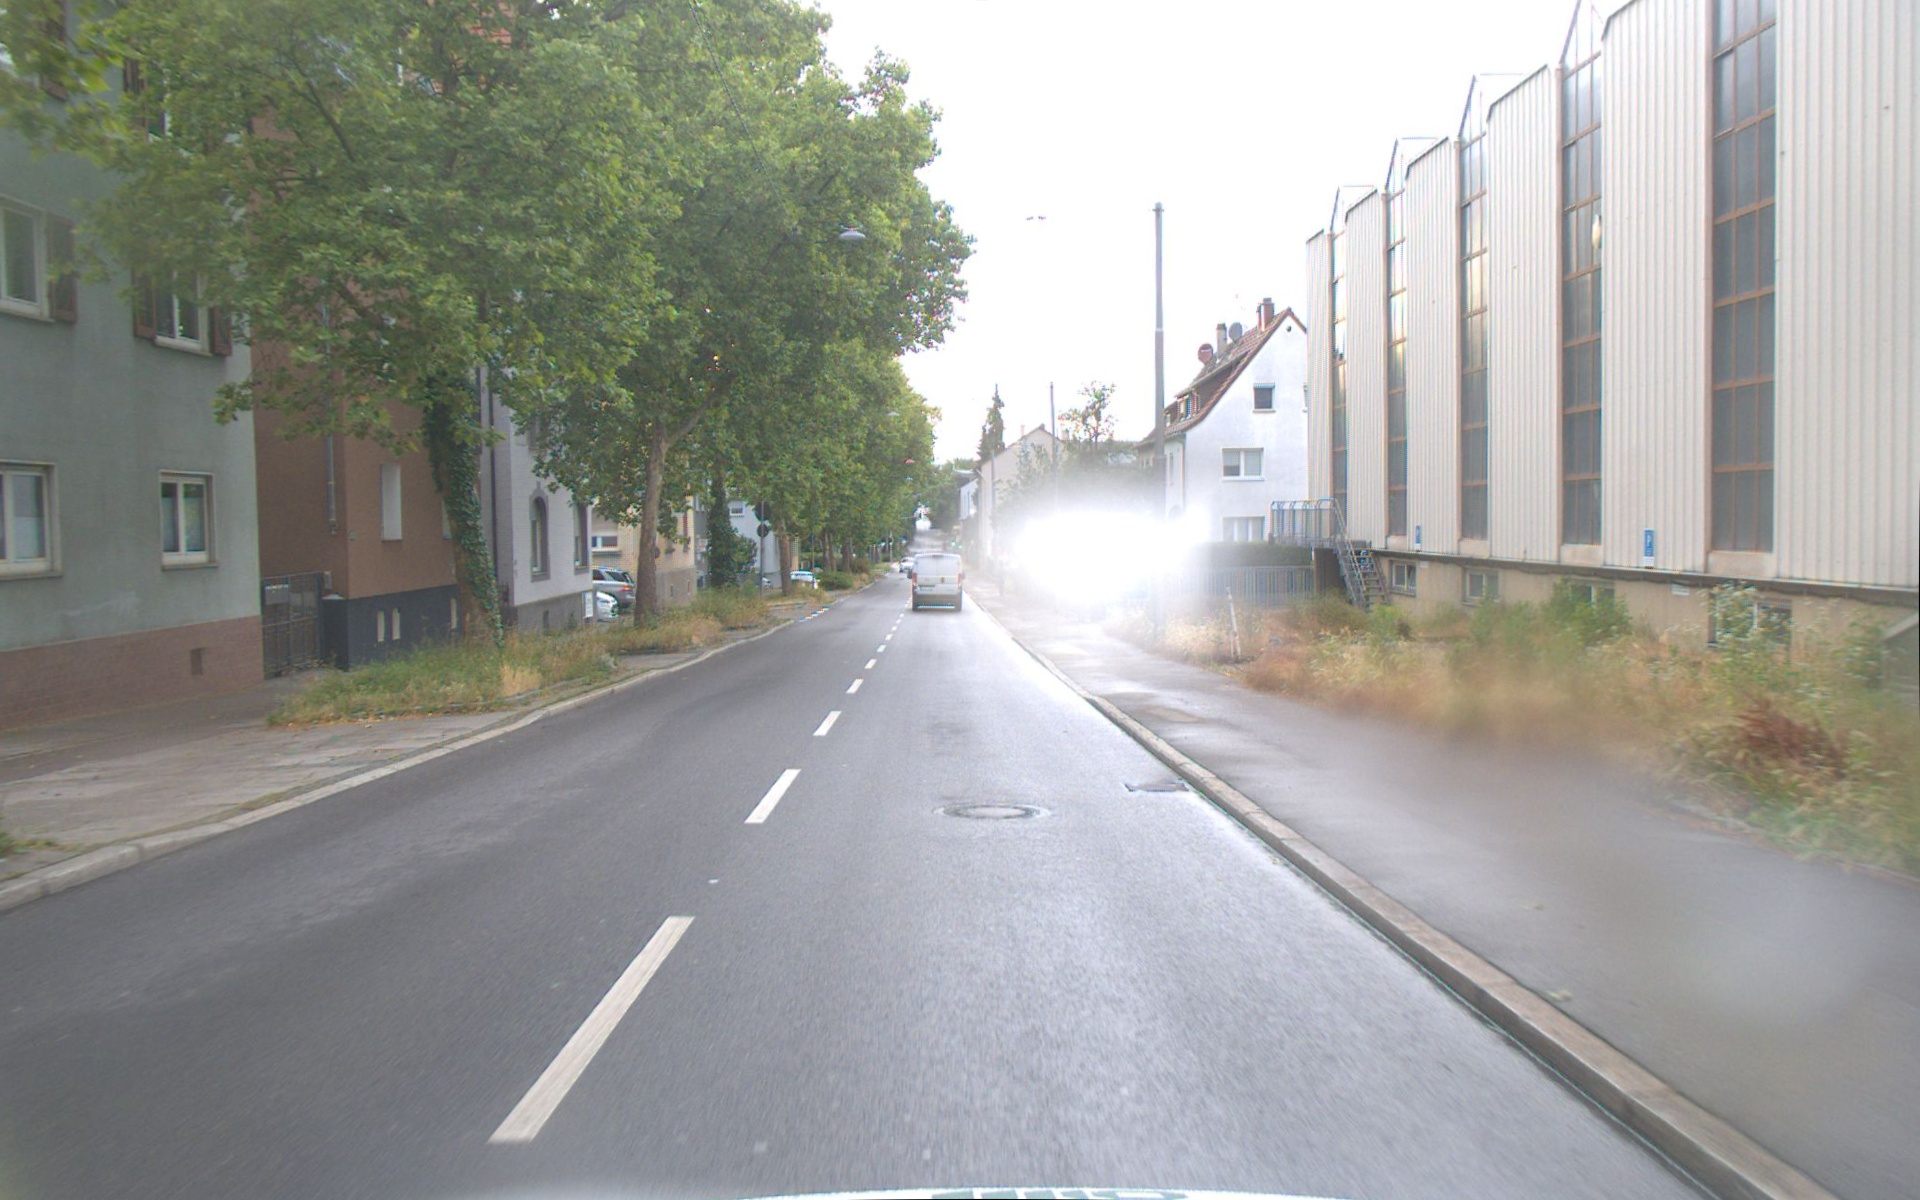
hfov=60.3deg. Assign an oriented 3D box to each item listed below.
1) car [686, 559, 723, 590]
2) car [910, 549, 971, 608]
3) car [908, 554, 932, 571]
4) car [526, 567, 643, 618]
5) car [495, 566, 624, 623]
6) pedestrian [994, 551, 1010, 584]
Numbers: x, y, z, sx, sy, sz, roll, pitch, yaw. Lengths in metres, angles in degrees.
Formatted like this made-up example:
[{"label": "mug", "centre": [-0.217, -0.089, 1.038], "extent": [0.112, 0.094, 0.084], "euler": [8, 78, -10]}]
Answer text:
[{"label": "car", "centre": [-16.721, -1.692, 108.498], "extent": [1.837, 1.927, 4.000], "euler": [-1, 2, -1]}, {"label": "car", "centre": [-0.838, -0.923, 67.566], "extent": [2.299, 2.197, 4.776], "euler": [-1, 3, -2]}, {"label": "car", "centre": [-4.184, -3.881, 172.641], "extent": [1.951, 1.738, 4.263], "euler": [0, 1, 7]}, {"label": "car", "centre": [-14.635, -0.317, 64.707], "extent": [4.112, 1.924, 2.000], "euler": [-1, 1, -2]}, {"label": "car", "centre": [-14.207, -0.222, 58.830], "extent": [4.112, 1.924, 2.000], "euler": [-1, 1, -2]}, {"label": "pedestrian", "centre": [2.253, -1.749, 89.116], "extent": [0.798, 1.728, 0.729], "euler": [0, 0, 4]}]
